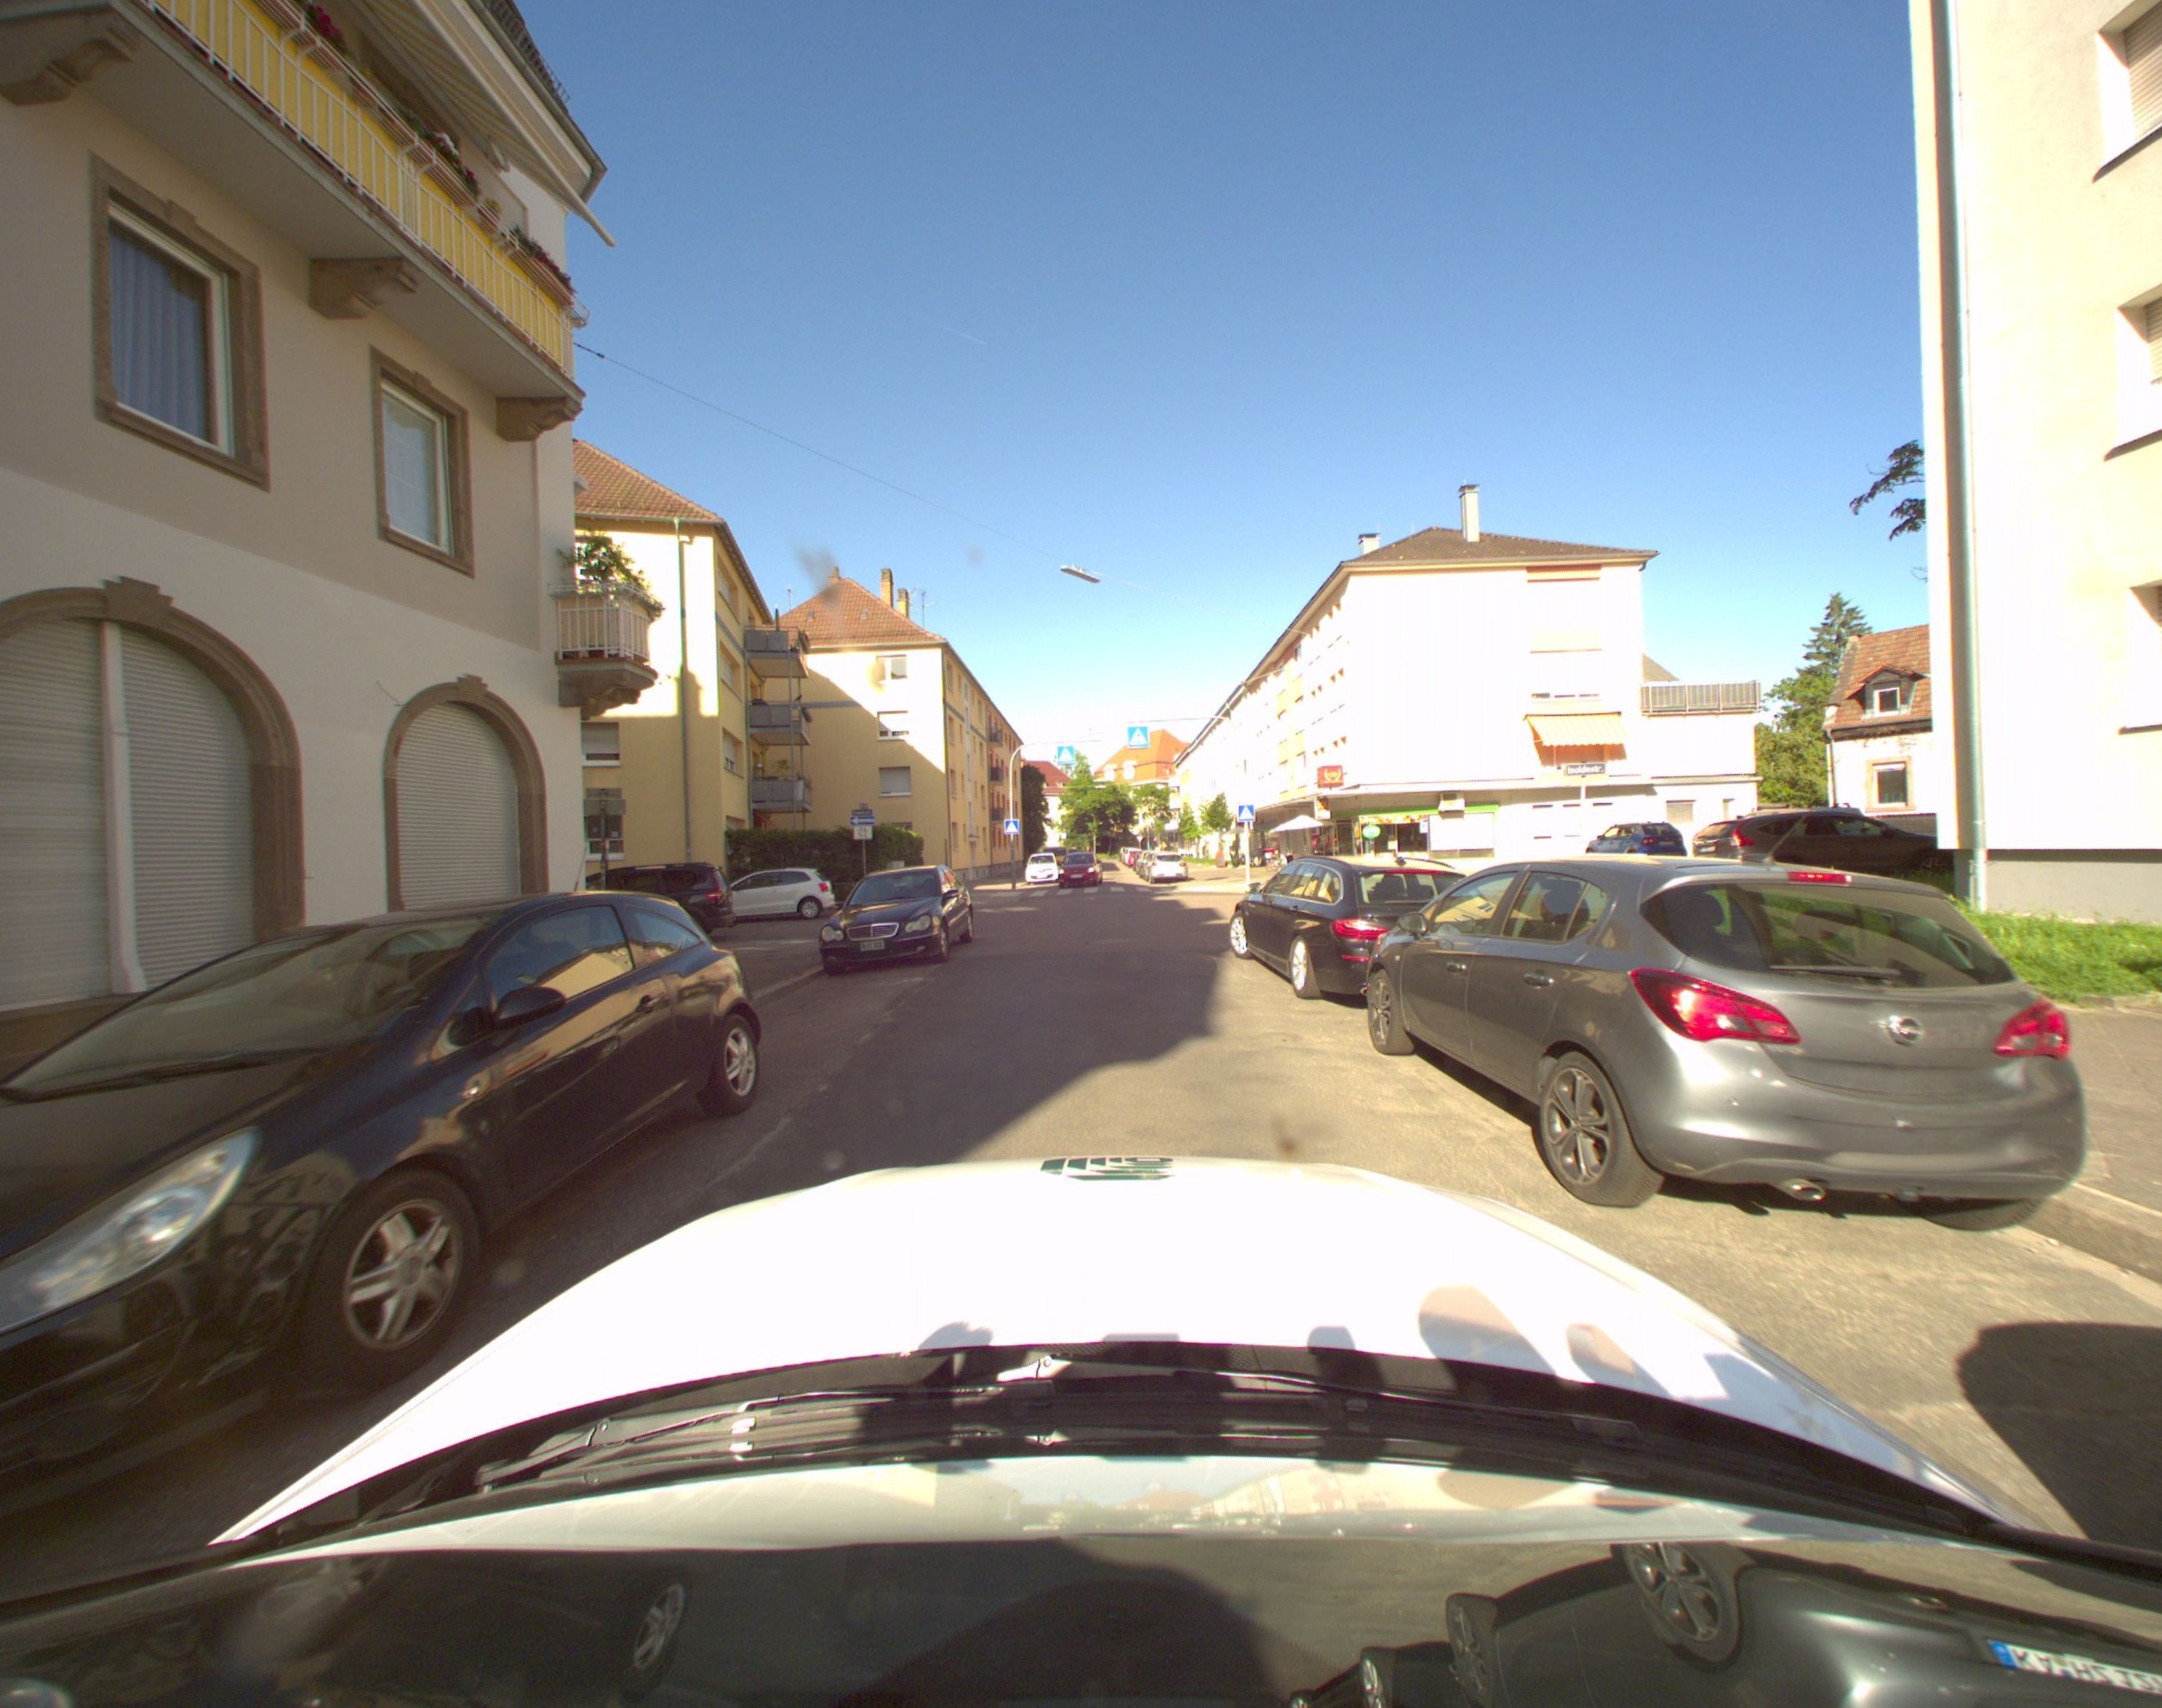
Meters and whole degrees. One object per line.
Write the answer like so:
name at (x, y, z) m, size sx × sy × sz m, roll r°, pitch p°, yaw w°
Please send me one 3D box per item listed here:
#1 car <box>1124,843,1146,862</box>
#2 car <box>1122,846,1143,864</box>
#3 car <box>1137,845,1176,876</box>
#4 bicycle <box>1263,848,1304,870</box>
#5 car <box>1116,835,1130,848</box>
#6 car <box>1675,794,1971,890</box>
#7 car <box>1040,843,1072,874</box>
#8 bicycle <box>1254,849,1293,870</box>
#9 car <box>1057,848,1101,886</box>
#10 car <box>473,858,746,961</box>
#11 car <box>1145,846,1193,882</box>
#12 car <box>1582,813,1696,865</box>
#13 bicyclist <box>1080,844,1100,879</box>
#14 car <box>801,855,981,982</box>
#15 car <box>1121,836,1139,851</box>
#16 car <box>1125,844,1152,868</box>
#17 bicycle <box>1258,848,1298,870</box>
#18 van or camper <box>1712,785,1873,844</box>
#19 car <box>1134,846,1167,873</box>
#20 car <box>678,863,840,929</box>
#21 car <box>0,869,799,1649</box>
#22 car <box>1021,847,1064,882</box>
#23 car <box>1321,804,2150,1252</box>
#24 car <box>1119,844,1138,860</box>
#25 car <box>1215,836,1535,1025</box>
car at (4.566, -0.115, 68.980) m, size 1.632 × 1.440 × 3.419 m, roll -4°, pitch 1°, yaw 1°
car at (4.752, 0.059, 75.312) m, size 1.632 × 1.440 × 3.419 m, roll -4°, pitch 1°, yaw 1°
car at (3.938, 0.323, 42.792) m, size 1.685 × 1.440 × 3.419 m, roll -4°, pitch 1°, yaw 0°
bicycle at (10.136, 0.241, 40.760) m, size 1.806 × 0.967 × 0.671 m, roll -4°, pitch 1°, yaw -9°
car at (5.342, -1.586, 103.861) m, size 1.632 × 1.440 × 3.419 m, roll -4°, pitch 1°, yaw 1°
car at (15.115, -0.247, 16.815) m, size 4.220 × 1.612 × 1.828 m, roll -4°, pitch 1°, yaw 7°
car at (-1.595, 0.264, 53.071) m, size 1.691 × 1.778 × 4.101 m, roll -4°, pitch 1°, yaw 2°
bicycle at (9.931, 0.259, 42.011) m, size 1.806 × 0.967 × 0.671 m, roll -4°, pitch 1°, yaw -9°
car at (-0.027, 0.535, 35.490) m, size 1.691 × 1.440 × 3.421 m, roll -4°, pitch 1°, yaw 2°
car at (-9.453, 1.043, 16.769) m, size 4.475 × 1.615 × 1.768 m, roll -4°, pitch 1°, yaw -17°
car at (4.043, 0.425, 37.950) m, size 1.839 × 1.440 × 3.419 m, roll -4°, pitch 1°, yaw 0°
car at (19.582, -0.525, 28.739) m, size 1.574 × 1.612 × 3.476 m, roll -4°, pitch 1°, yaw 0°
bicyclist at (0.459, 0.353, 40.470) m, size 0.782 × 1.621 × 0.958 m, roll -5°, pitch 1°, yaw 6°
car at (-2.773, 0.855, 12.941) m, size 1.699 × 1.415 × 4.373 m, roll -8°, pitch 0°, yaw -1°
car at (5.086, -1.135, 84.654) m, size 1.632 × 1.440 × 3.419 m, roll -4°, pitch 1°, yaw 1°
car at (3.997, 0.117, 57.025) m, size 1.632 × 1.440 × 3.419 m, roll -4°, pitch 1°, yaw 0°
bicycle at (10.019, 0.235, 41.358) m, size 1.806 × 0.967 × 0.671 m, roll -4°, pitch 1°, yaw -9°
van or camper at (25.006, -1.334, 28.867) m, size 1.766 × 1.813 × 4.477 m, roll -4°, pitch 1°, yaw 0°
car at (4.134, 0.278, 48.991) m, size 1.632 × 1.440 × 3.419 m, roll -4°, pitch 1°, yaw 0°
car at (-8.939, 1.129, 22.943) m, size 3.988 × 1.479 × 1.586 m, roll -4°, pitch 1°, yaw -17°
car at (-2.850, 0.931, 3.616) m, size 1.641 × 1.415 × 4.079 m, roll -8°, pitch 0°, yaw -1°
car at (-1.933, 0.504, 42.392) m, size 1.785 × 1.480 × 4.101 m, roll -5°, pitch 2°, yaw 2°
car at (2.858, 0.583, 4.789) m, size 1.640 × 1.460 × 3.938 m, roll -3°, pitch 0°, yaw -1°
car at (4.602, -0.229, 79.887) m, size 1.632 × 1.440 × 3.419 m, roll -4°, pitch 1°, yaw 1°
car at (2.907, 0.636, 9.347) m, size 1.848 × 1.523 × 4.775 m, roll -3°, pitch 0°, yaw -1°
